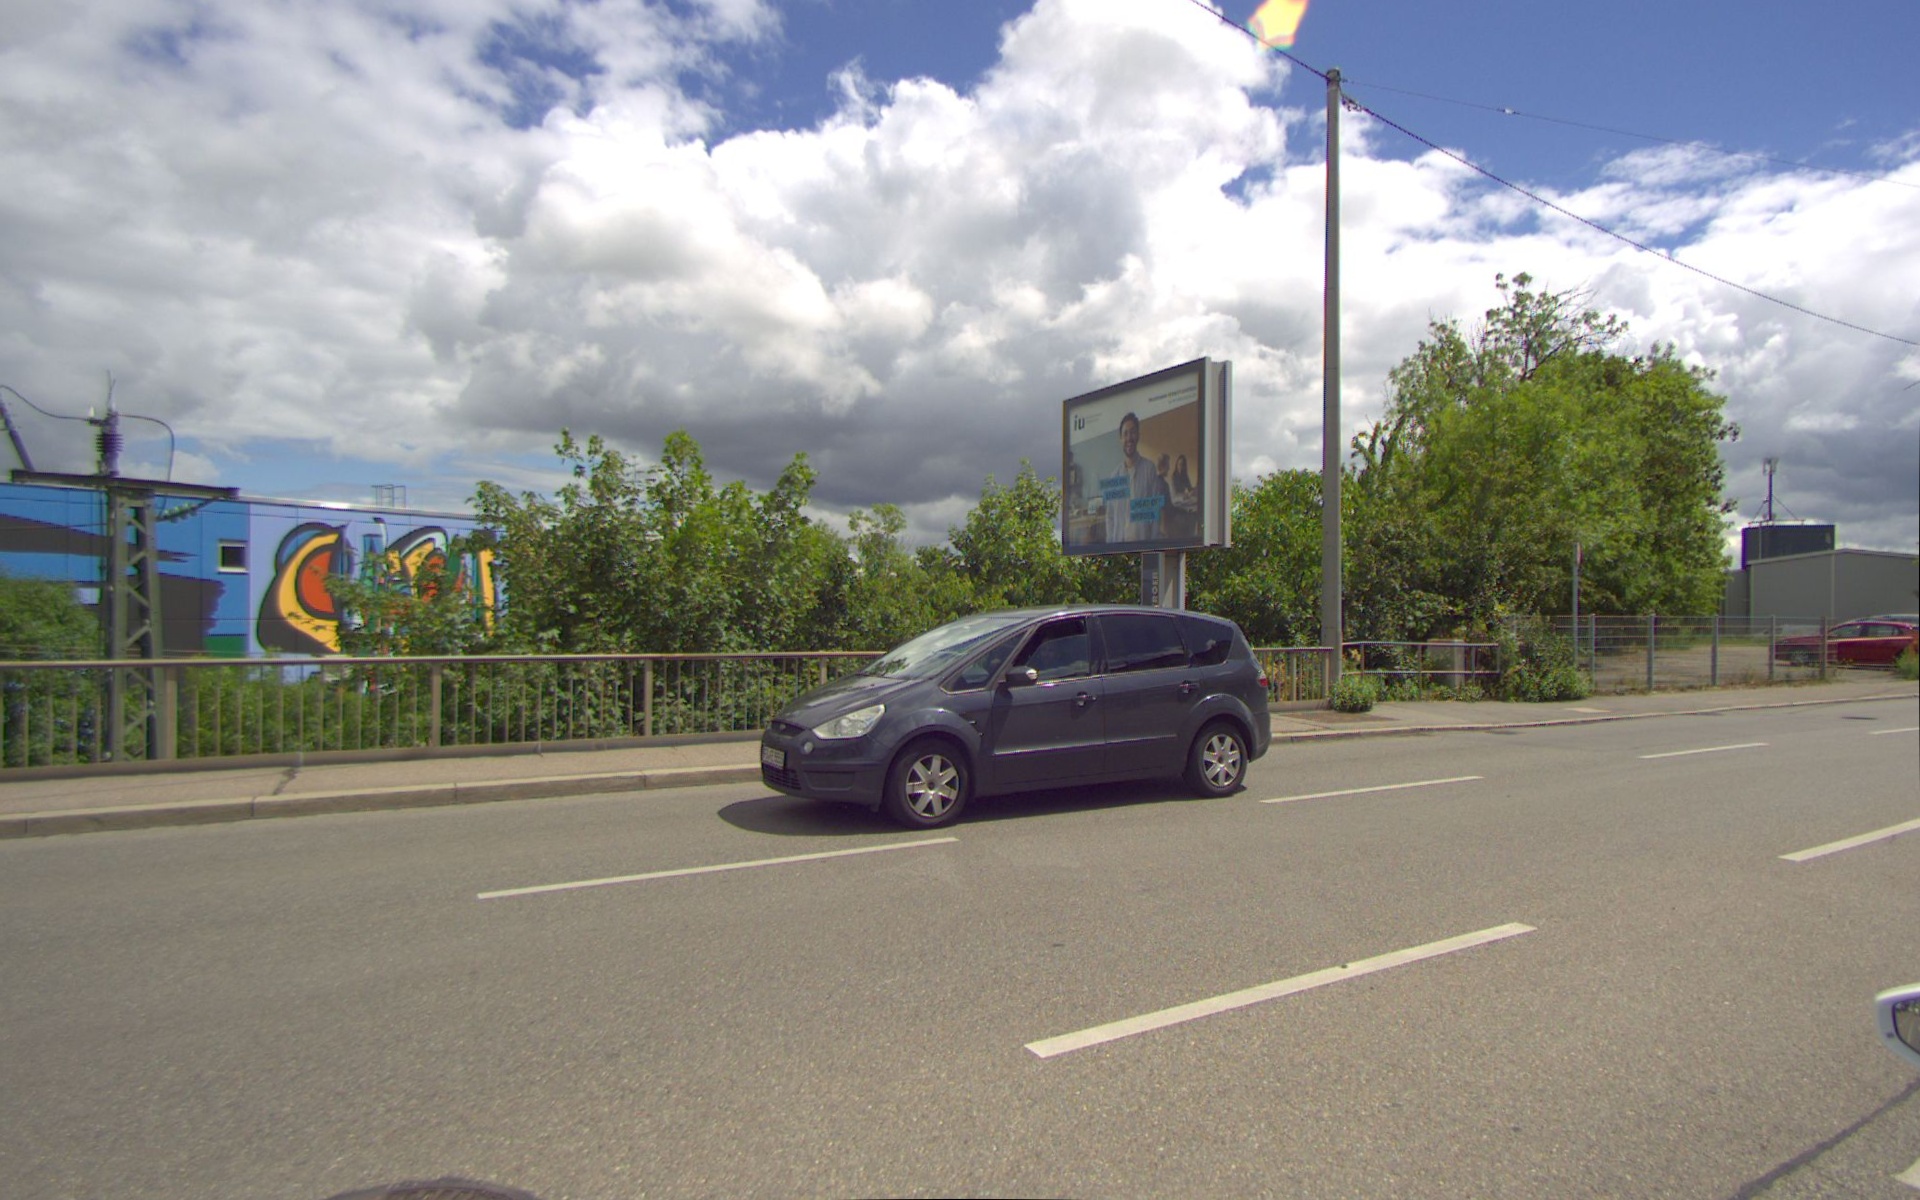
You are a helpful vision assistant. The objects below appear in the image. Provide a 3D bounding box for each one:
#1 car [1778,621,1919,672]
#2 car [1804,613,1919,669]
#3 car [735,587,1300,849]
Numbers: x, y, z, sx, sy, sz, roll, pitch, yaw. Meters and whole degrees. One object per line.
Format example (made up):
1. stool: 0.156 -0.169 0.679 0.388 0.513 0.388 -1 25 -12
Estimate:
1. car: 27.859 1.393 30.970 1.886 1.438 3.821 1 -1 -39
2. car: 30.173 1.298 32.457 1.980 1.757 4.076 1 -1 -35
3. car: 0.586 0.808 8.618 4.570 1.725 1.902 1 0 -30
